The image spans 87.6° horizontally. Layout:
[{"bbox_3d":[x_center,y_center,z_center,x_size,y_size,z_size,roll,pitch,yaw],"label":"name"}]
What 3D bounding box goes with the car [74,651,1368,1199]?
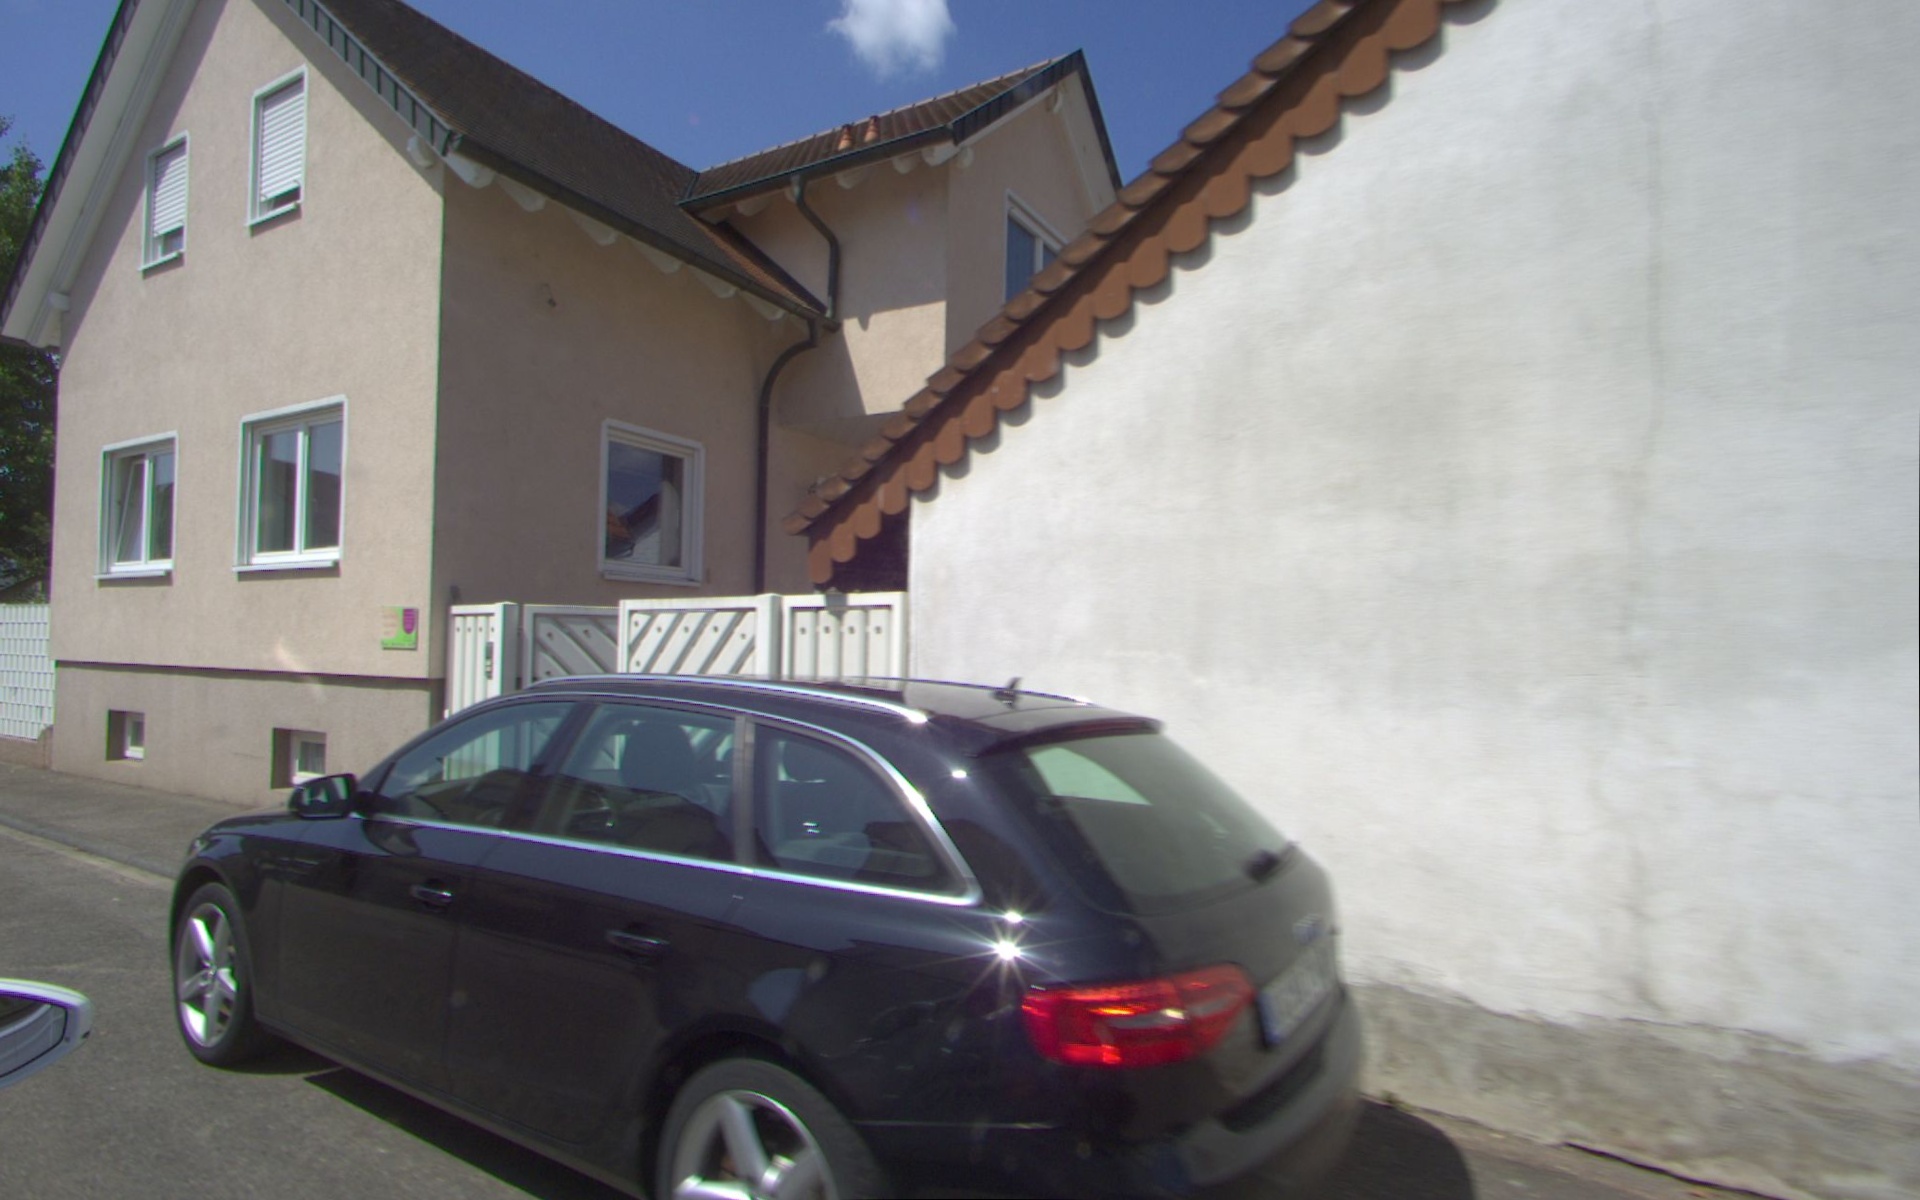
[{"bbox_3d":[-1.172,0.934,3.651,4.671,1.382,1.893,-1,-4,33],"label":"car"}]
